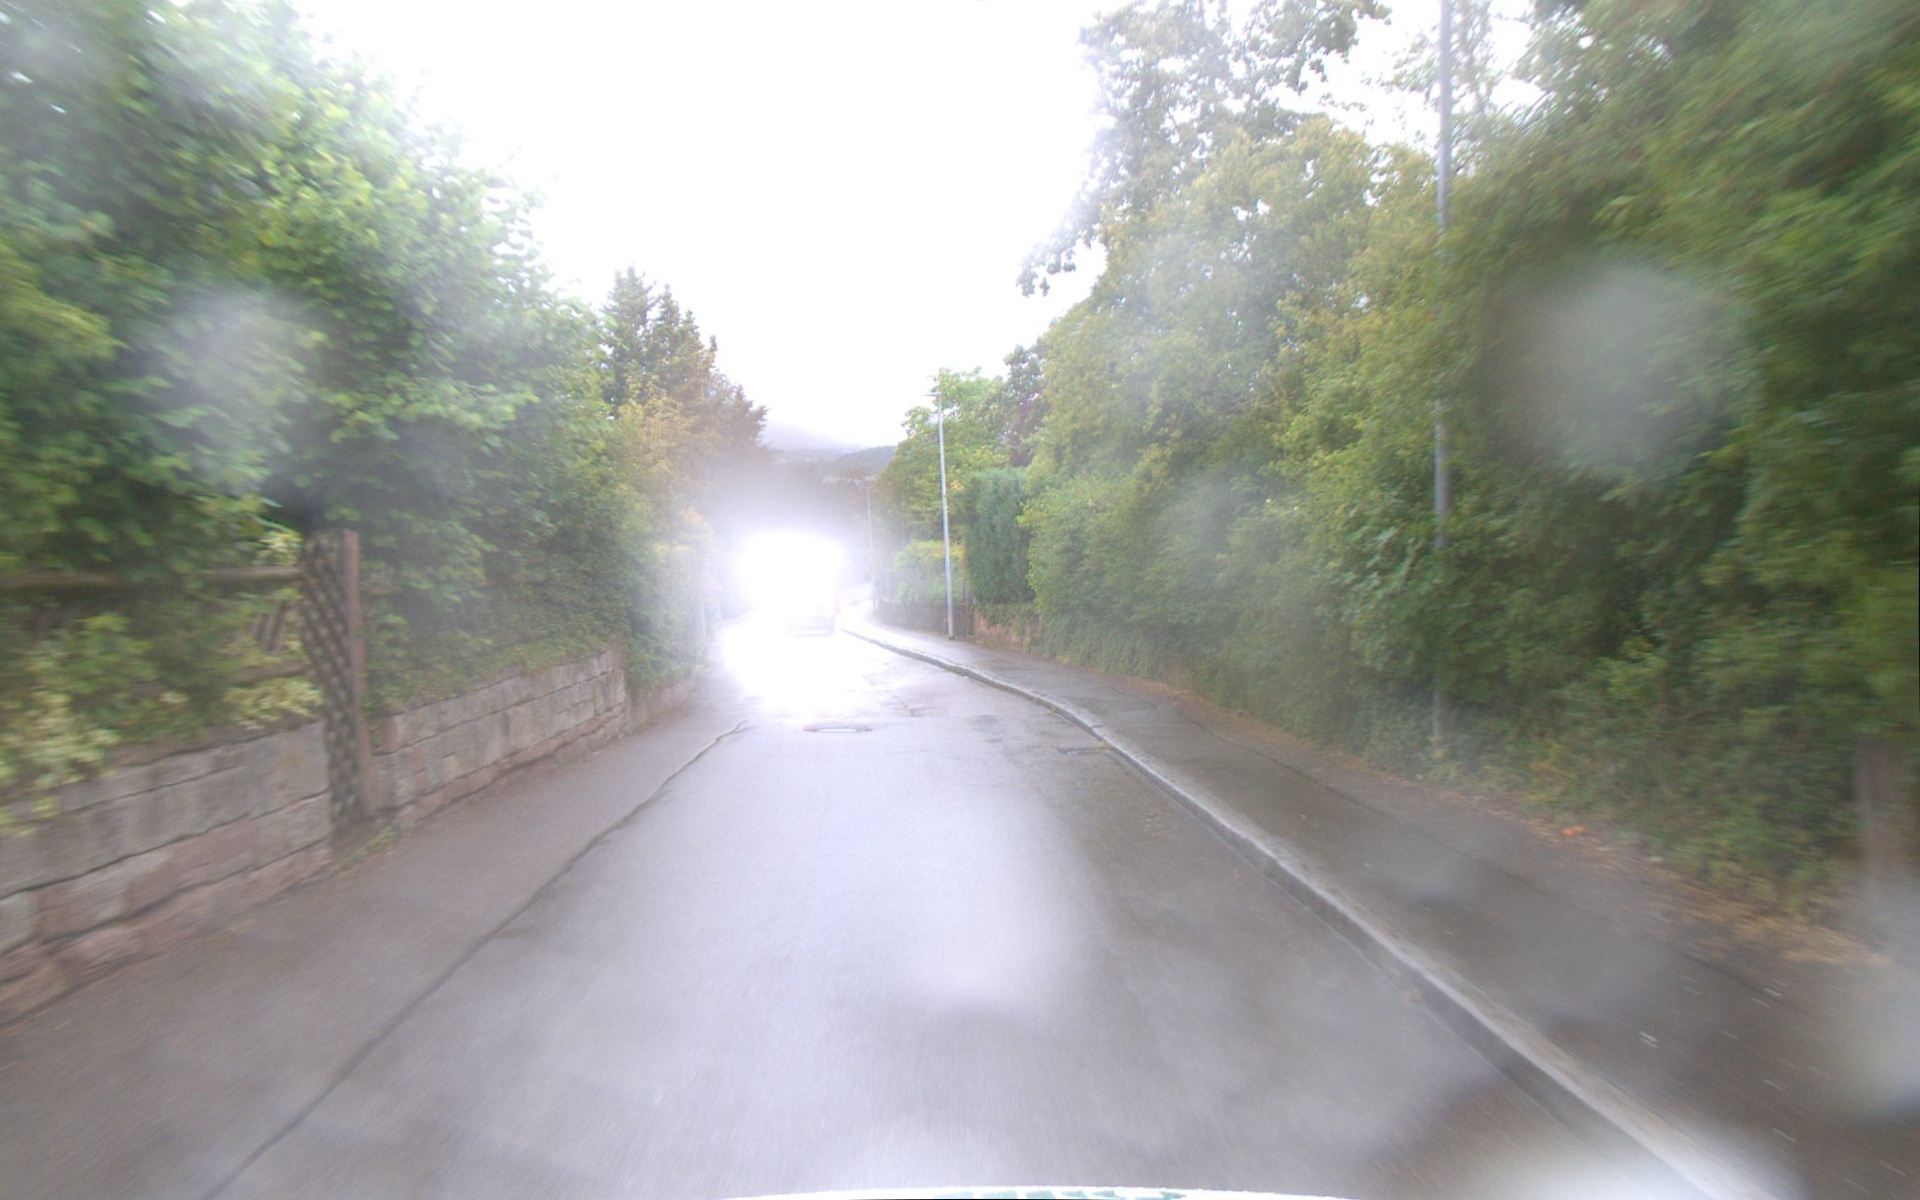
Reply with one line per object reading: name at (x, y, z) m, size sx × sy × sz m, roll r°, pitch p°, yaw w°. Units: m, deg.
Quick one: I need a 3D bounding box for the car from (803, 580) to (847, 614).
car at (-6.967, -0.175, 85.772) m, size 1.642 × 1.592 × 3.797 m, roll 0°, pitch 2°, yaw 5°

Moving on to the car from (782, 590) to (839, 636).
car at (-5.141, 0.418, 56.517) m, size 1.800 × 1.489 × 3.993 m, roll 0°, pitch 0°, yaw -8°
